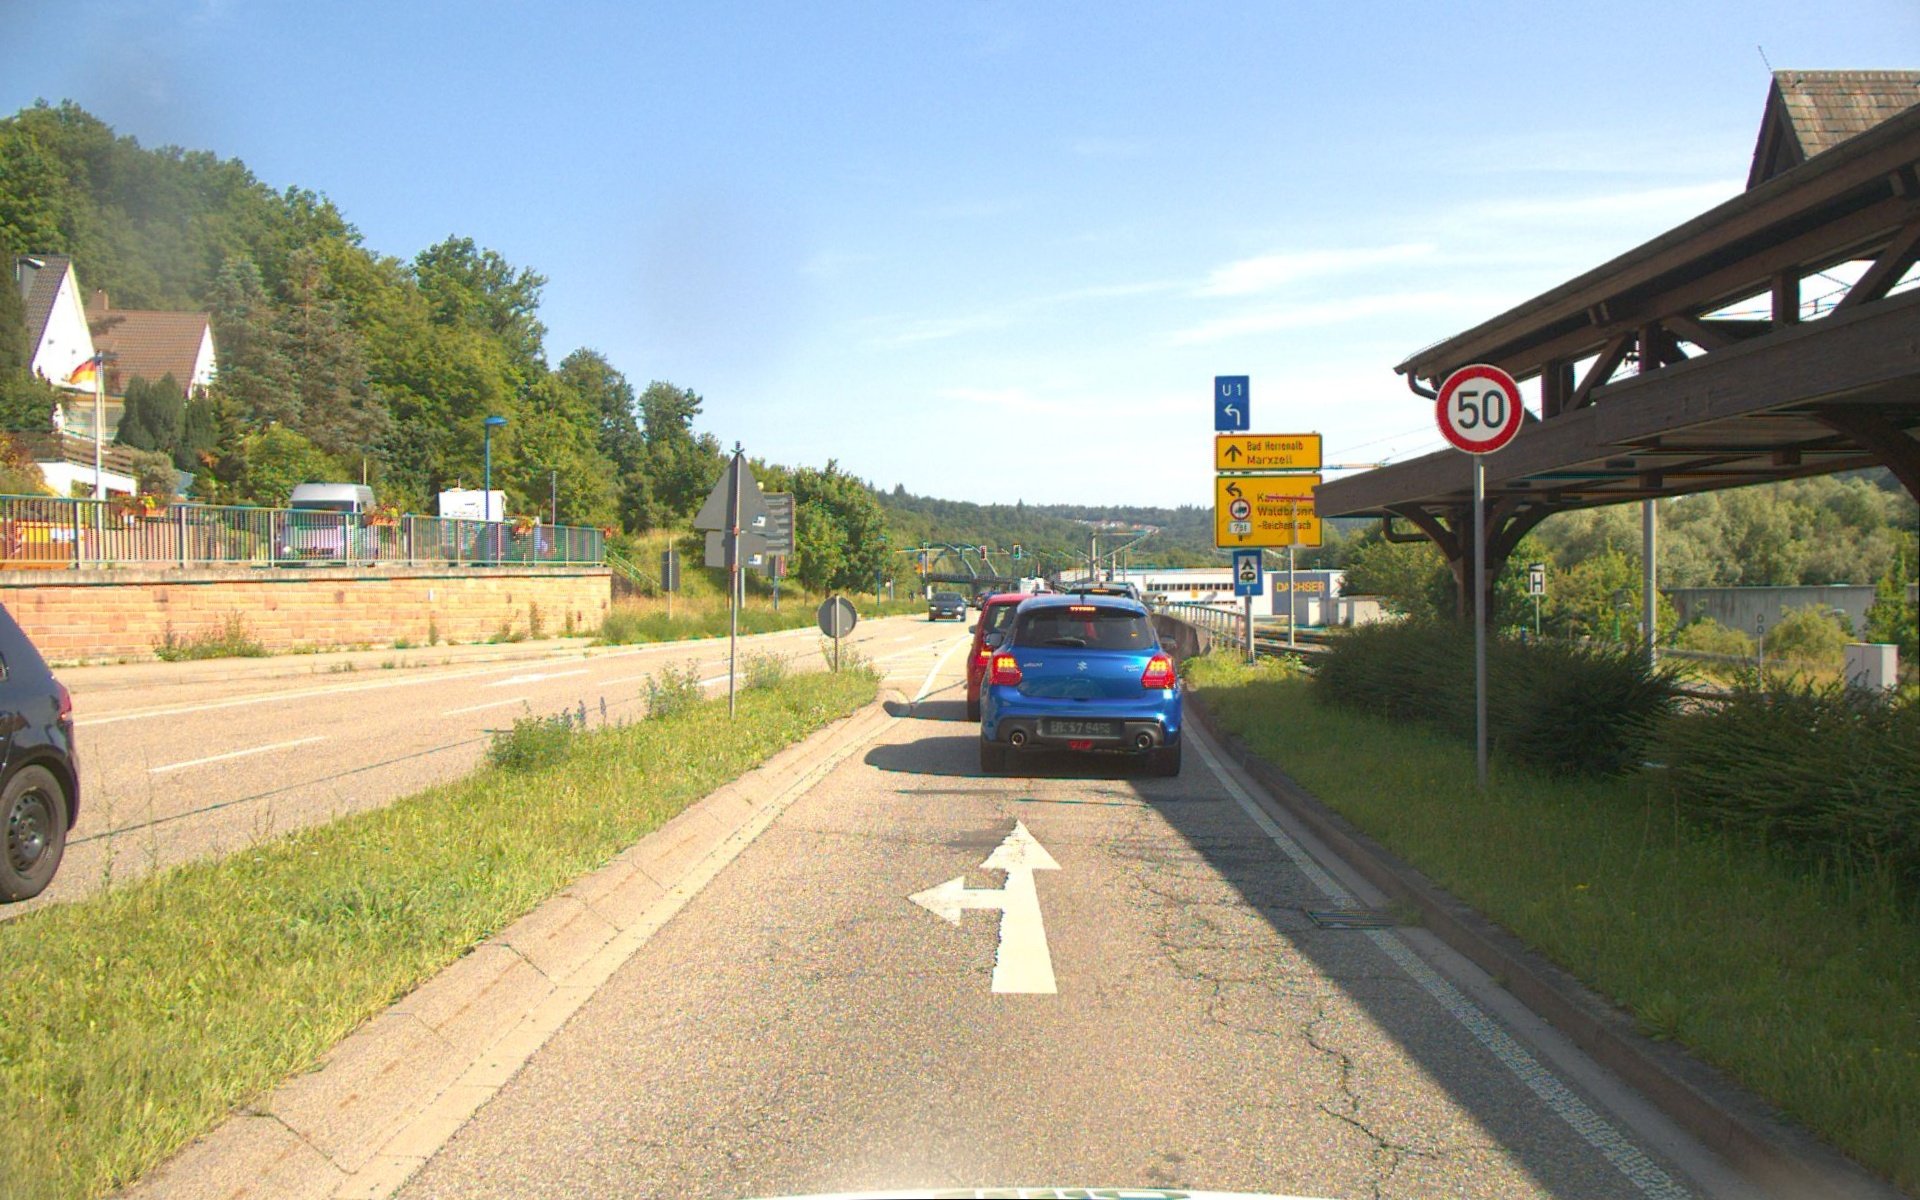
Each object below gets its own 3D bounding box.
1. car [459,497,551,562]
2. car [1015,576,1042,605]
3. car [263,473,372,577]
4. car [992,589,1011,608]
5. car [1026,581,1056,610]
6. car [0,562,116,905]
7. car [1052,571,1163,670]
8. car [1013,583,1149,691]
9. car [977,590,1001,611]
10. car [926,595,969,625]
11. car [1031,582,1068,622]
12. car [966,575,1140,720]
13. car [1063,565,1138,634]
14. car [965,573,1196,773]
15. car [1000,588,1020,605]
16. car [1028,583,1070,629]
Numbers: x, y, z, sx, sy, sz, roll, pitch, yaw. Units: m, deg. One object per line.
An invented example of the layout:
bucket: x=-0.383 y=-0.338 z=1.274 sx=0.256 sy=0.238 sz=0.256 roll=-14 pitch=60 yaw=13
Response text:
car: x=-14.969 y=-2.302 z=54.614 sx=1.981 sy=1.953 sz=4.728 roll=2 pitch=2 yaw=-4
car: x=5.296 y=-0.735 z=127.362 sx=1.952 sy=2.181 sz=4.721 roll=2 pitch=0 yaw=2
car: x=-16.964 y=-1.970 z=43.915 sx=2.059 sy=2.486 sz=5.761 roll=2 pitch=2 yaw=-16
car: x=4.781 y=-0.164 z=192.039 sx=1.953 sy=2.049 sz=3.999 roll=1 pitch=1 yaw=-1
car: x=5.521 y=-0.323 z=113.271 sx=1.952 sy=1.848 sz=4.002 roll=2 pitch=2 yaw=2
car: x=-4.992 y=0.587 z=6.127 sx=1.710 sy=1.488 sz=4.043 roll=0 pitch=0 yaw=-1
car: x=2.826 y=0.340 z=32.253 sx=1.952 sy=1.716 sz=4.499 roll=2 pitch=1 yaw=4
car: x=1.903 y=0.505 z=26.200 sx=1.951 sy=1.558 sz=4.604 roll=0 pitch=1 yaw=4
car: x=2.622 y=0.000 z=148.409 sx=1.952 sy=1.814 sz=4.001 roll=2 pitch=0 yaw=2
car: x=-0.599 y=0.498 z=85.449 sx=1.753 sy=1.496 sz=4.719 roll=1 pitch=1 yaw=5
car: x=4.952 y=0.075 z=91.993 sx=1.952 sy=2.048 sz=4.002 roll=2 pitch=2 yaw=2
car: x=1.198 y=0.540 z=20.955 sx=1.952 sy=1.598 sz=4.002 roll=2 pitch=0 yaw=4
car: x=3.891 y=-0.028 z=46.178 sx=1.952 sy=1.766 sz=4.002 roll=2 pitch=1 yaw=4
car: x=1.022 y=0.571 z=15.285 sx=1.830 sy=1.575 sz=4.001 roll=1 pitch=0 yaw=2
car: x=5.021 y=-0.377 z=165.217 sx=1.952 sy=1.619 sz=4.001 roll=2 pitch=0 yaw=2
car: x=4.316 y=0.266 z=80.556 sx=1.952 sy=2.048 sz=4.002 roll=2 pitch=2 yaw=2
